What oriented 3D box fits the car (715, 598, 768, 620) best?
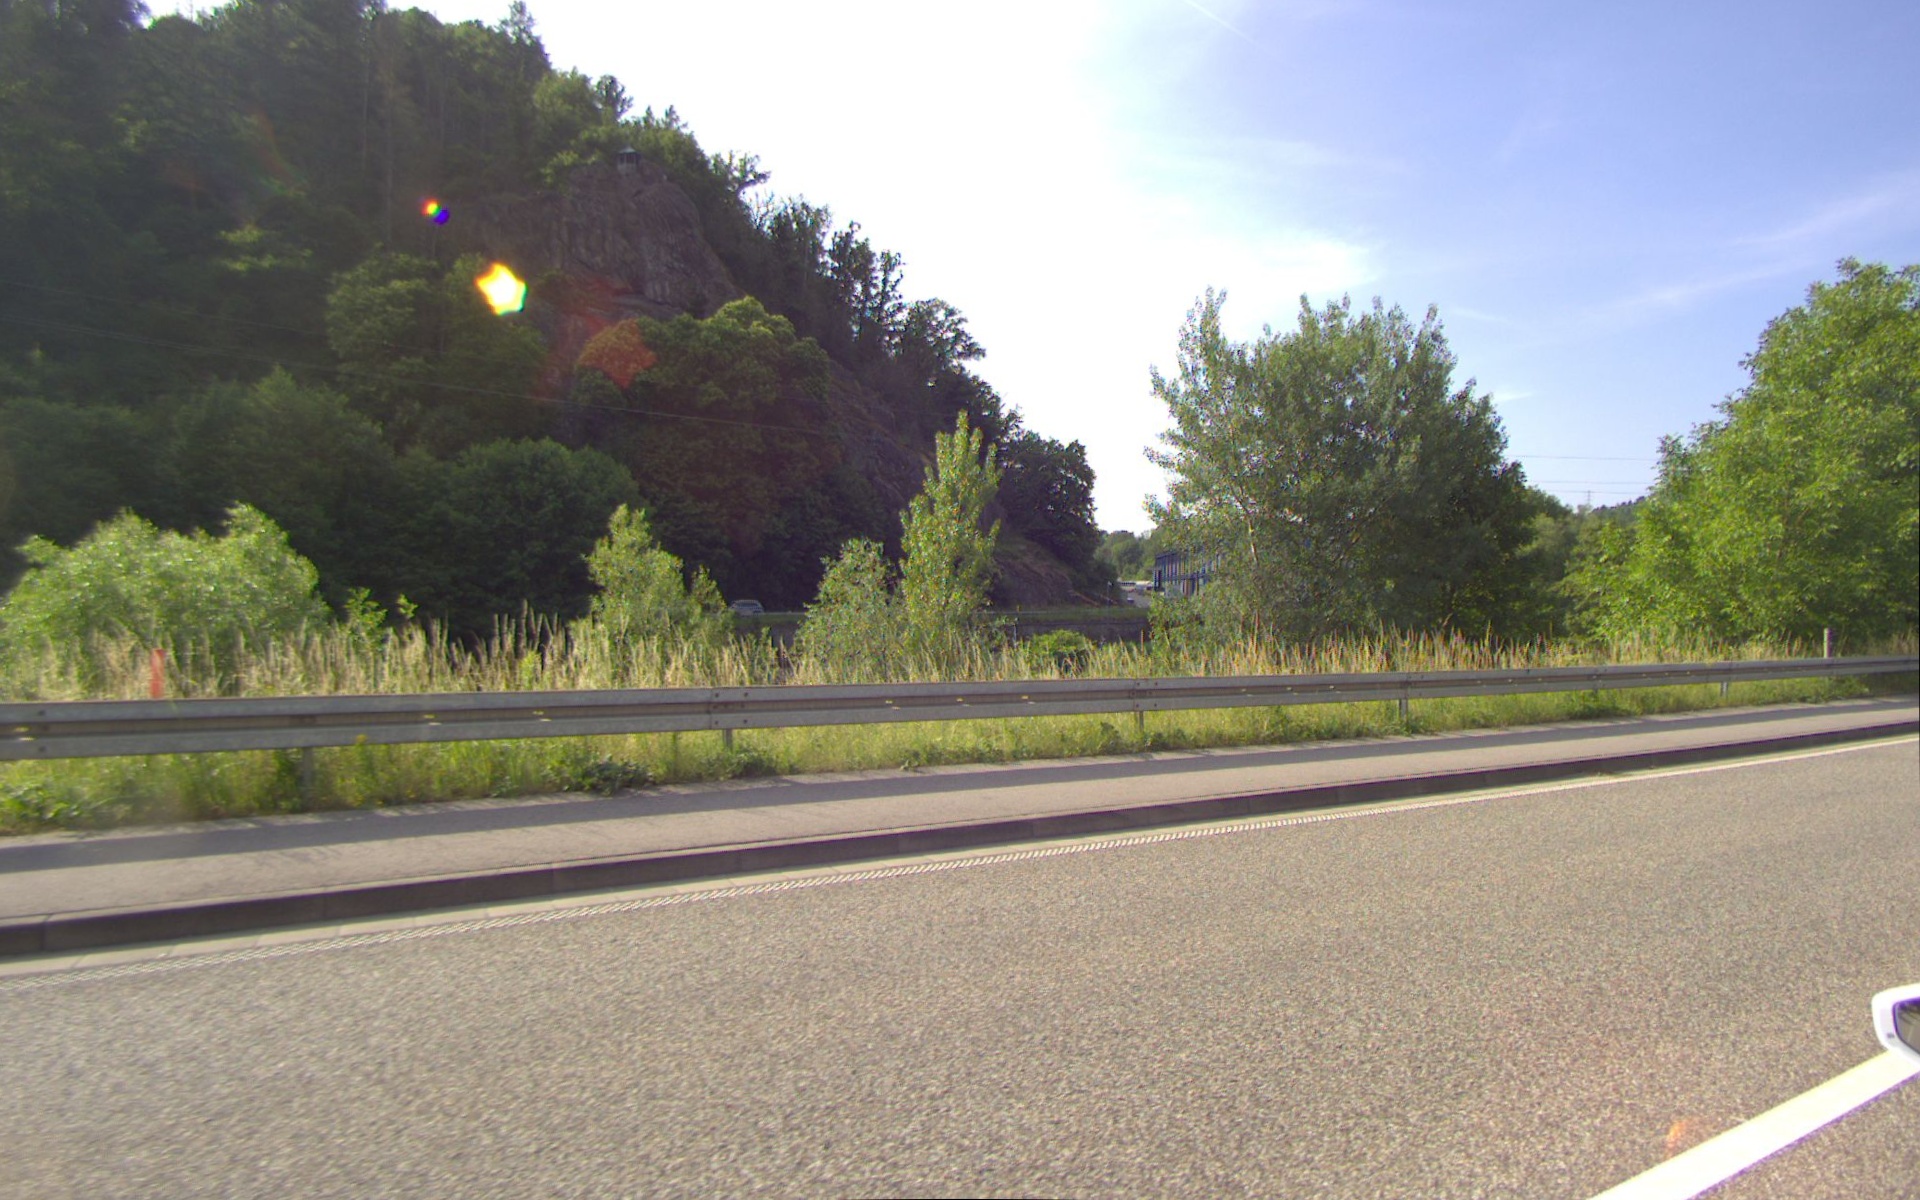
[{"bbox_3d":[-18.276,0.791,84.068,3.961,1.688,1.857,1,2,-36],"label":"car"}]
